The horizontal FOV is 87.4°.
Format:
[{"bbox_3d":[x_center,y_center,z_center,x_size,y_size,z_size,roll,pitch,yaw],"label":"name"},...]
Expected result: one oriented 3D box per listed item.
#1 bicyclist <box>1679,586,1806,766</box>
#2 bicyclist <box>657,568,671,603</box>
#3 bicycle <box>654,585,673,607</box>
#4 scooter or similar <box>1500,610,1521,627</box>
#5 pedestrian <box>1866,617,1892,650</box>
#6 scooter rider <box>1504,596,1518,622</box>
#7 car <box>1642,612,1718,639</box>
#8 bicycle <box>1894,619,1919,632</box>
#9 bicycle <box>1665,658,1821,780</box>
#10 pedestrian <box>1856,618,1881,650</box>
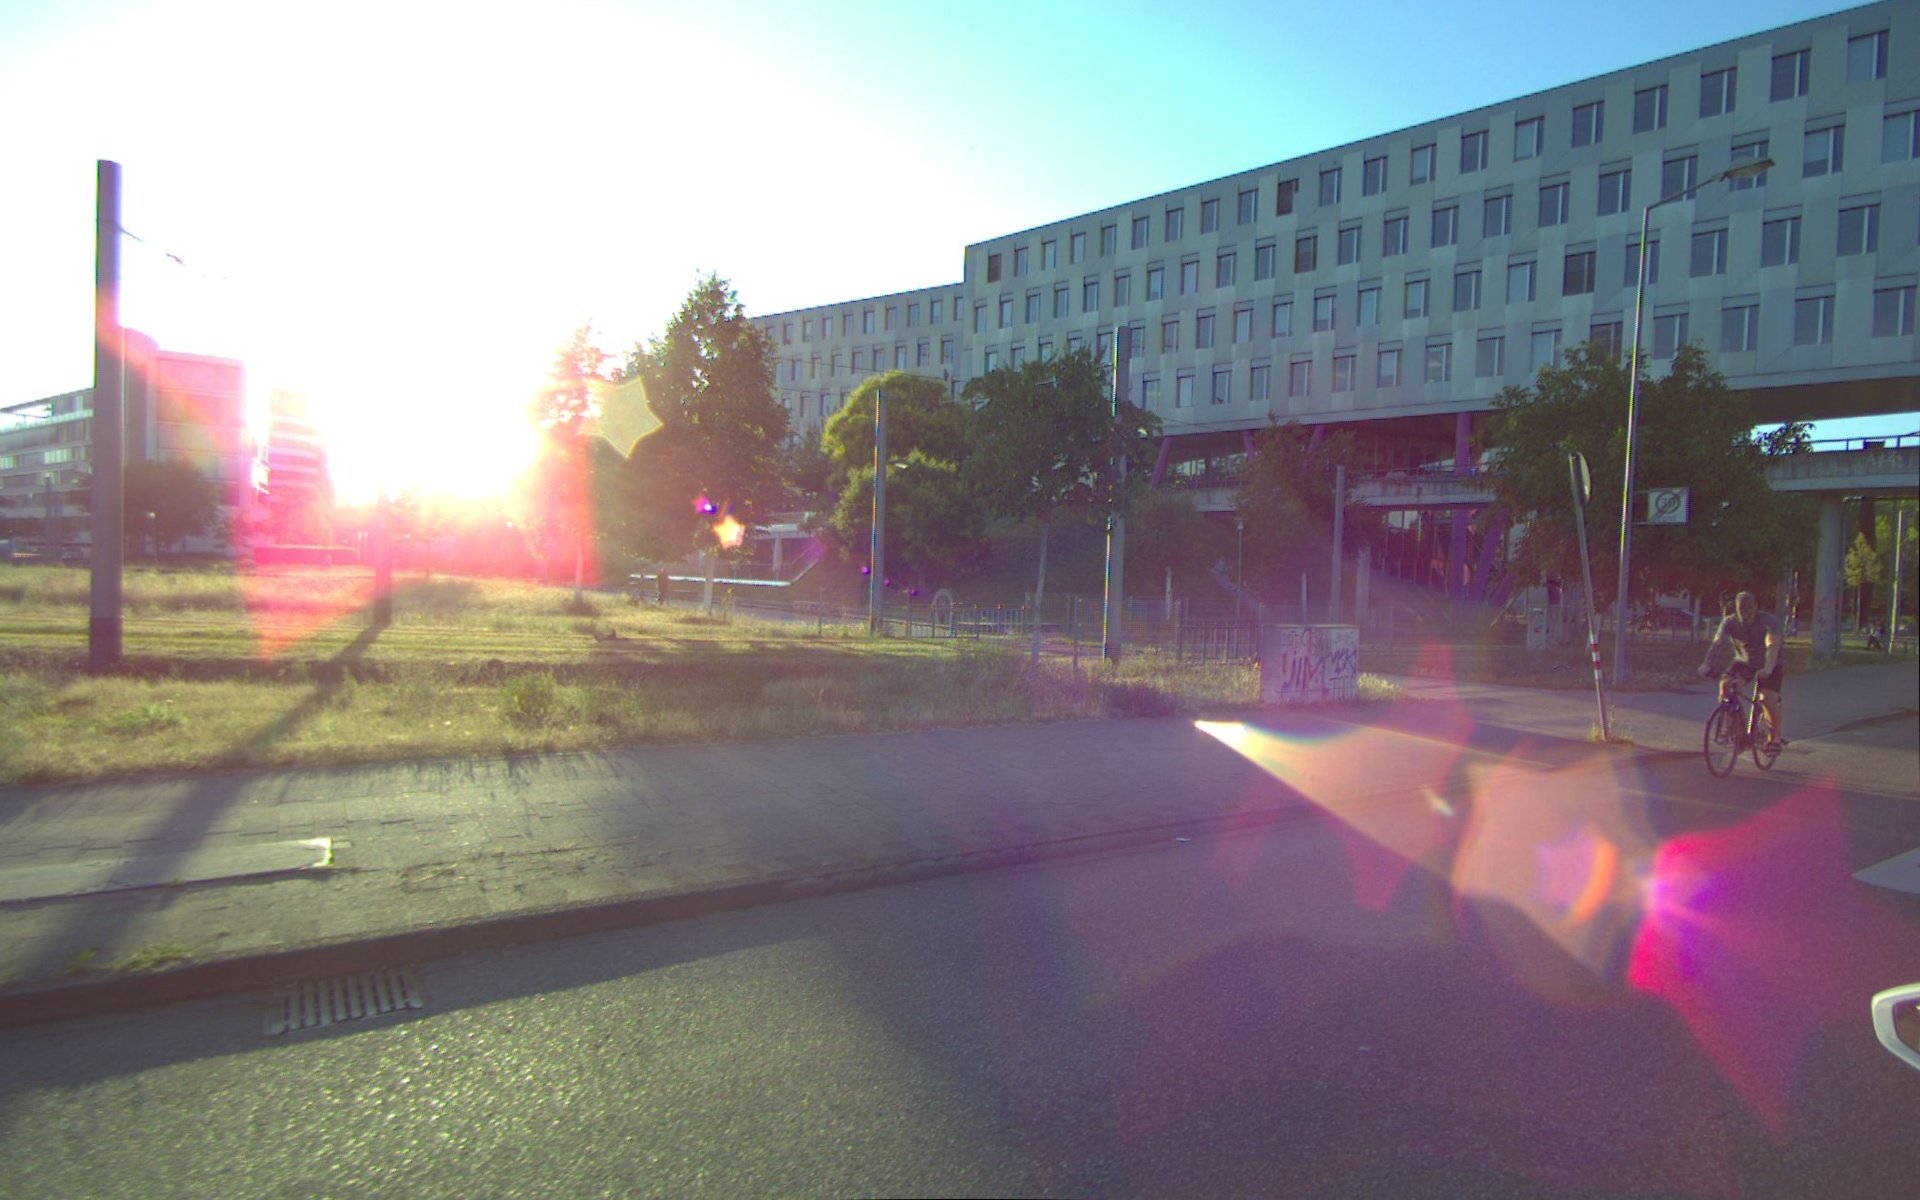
[{"bbox_3d":[7.784,0.717,9.994,1.024,1.685,0.612,0,2,-30],"label":"bicyclist"},{"bbox_3d":[-12.990,-0.653,44.071,0.420,1.515,0.509,0,2,-33],"label":"bicyclist"},{"bbox_3d":[-13.028,-0.179,44.120,0.426,0.912,1.224,0,2,-33],"label":"bicycle"},{"bbox_3d":[39.498,1.321,72.060,0.499,1.217,1.203,0,2,-38],"label":"scooter or similar"},{"bbox_3d":[49.036,1.786,53.601,0.700,1.686,0.700,1,2,-18],"label":"pedestrian"},{"bbox_3d":[39.523,0.621,72.013,0.439,1.807,0.700,0,2,-38],"label":"scooter rider"},{"bbox_3d":[56.430,1.978,78.777,1.926,1.841,4.436,0,2,-36],"label":"car"},{"bbox_3d":[86.053,2.322,91.024,1.934,1.143,0.559,2,2,30],"label":"bicycle"},{"bbox_3d":[7.858,1.148,10.052,1.902,1.057,0.536,1,2,-30],"label":"bicycle"},{"bbox_3d":[48.255,1.788,53.359,0.700,1.646,0.685,1,2,-18],"label":"pedestrian"}]
